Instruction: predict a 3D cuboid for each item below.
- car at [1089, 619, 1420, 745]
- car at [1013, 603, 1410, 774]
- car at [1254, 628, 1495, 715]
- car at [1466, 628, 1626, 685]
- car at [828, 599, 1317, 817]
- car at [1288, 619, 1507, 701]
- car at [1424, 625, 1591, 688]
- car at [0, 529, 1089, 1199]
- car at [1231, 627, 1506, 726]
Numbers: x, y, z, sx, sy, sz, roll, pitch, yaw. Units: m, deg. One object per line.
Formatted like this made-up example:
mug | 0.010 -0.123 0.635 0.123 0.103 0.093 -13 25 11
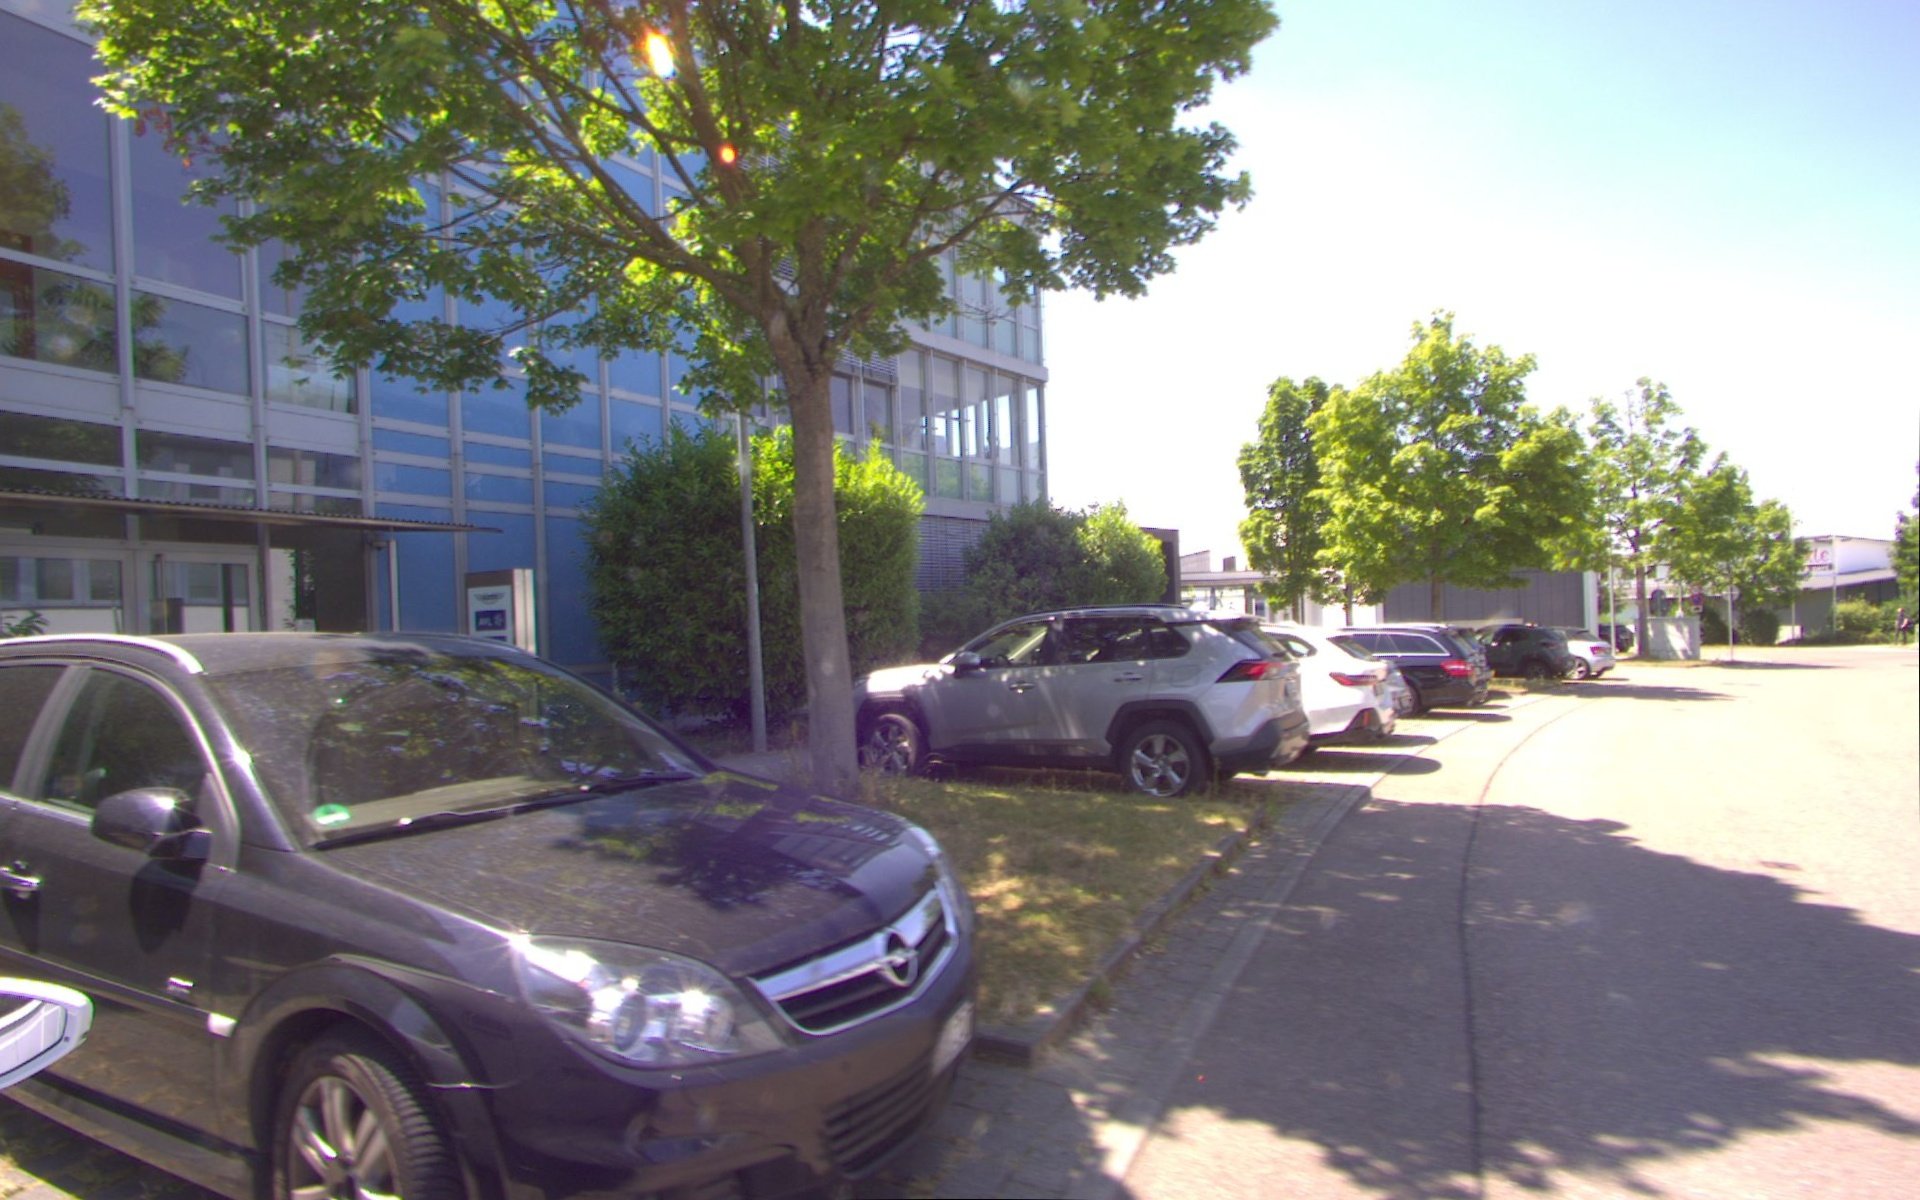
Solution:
car | 3.985 1.027 13.714 4.115 1.505 1.654 -1 -1 30
car | 2.815 0.900 11.462 4.139 1.664 1.654 -1 -1 30
car | 7.959 1.303 19.322 4.116 1.505 1.653 -1 -1 30
car | 16.282 1.517 27.910 1.619 1.461 3.556 1 -2 -43
car | 1.013 0.872 9.539 4.267 1.664 1.850 -1 -1 29
car | 9.511 1.239 21.973 4.133 1.625 1.646 -1 -2 43
car | 14.410 1.445 26.477 1.619 1.545 3.556 1 -2 -43
car | -1.998 0.764 3.353 4.494 1.569 1.757 -2 -2 27
car | 6.944 1.221 17.234 4.124 1.505 1.650 -1 -1 37
